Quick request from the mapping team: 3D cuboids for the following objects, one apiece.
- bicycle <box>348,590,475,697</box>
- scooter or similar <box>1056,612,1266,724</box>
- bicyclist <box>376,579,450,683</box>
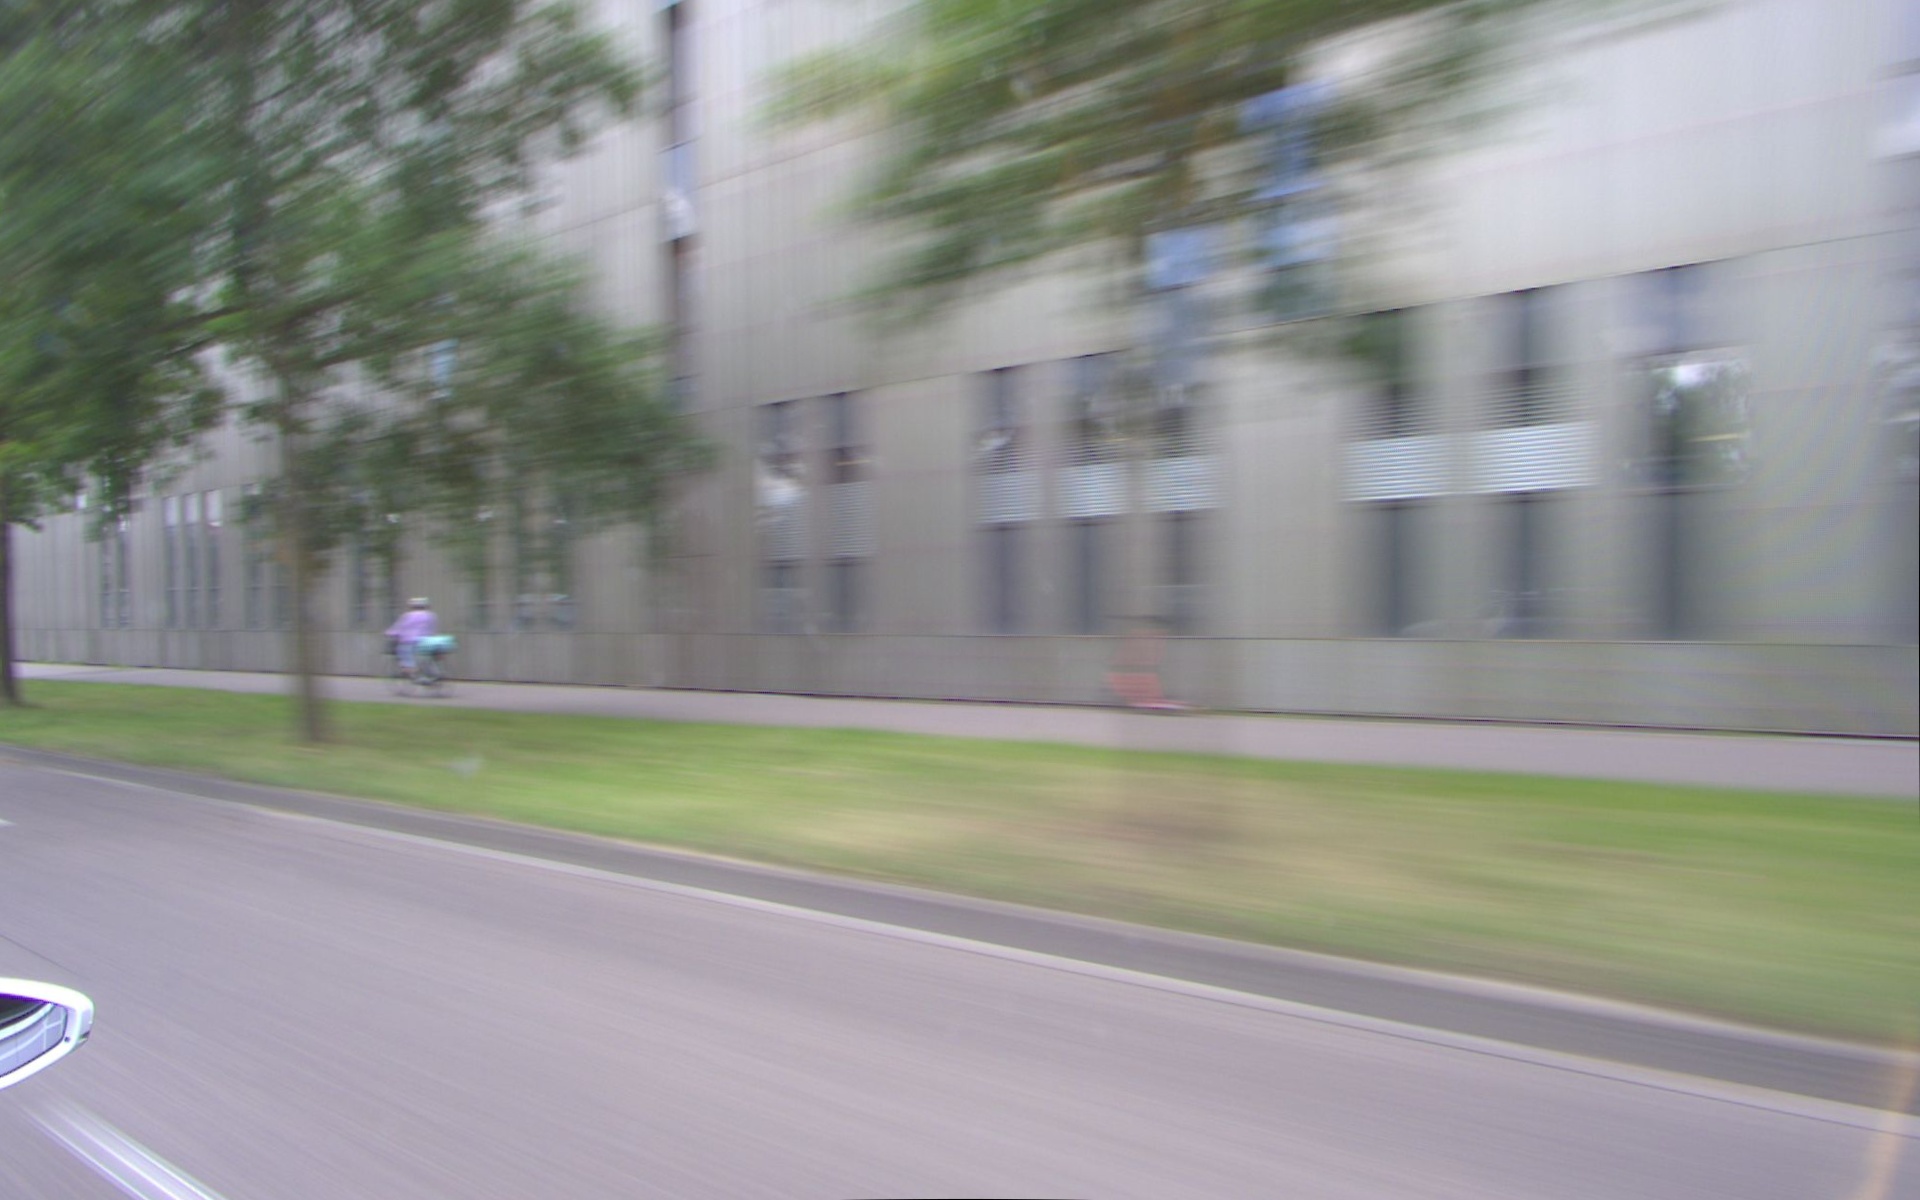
[{"bbox_3d":[-9.757,0.751,17.793,2.494,1.797,0.719,-1,1,28],"label":"bicycle"},{"bbox_3d":[2.448,0.794,12.354,2.444,1.263,0.703,-1,1,32],"label":"scooter or similar"},{"bbox_3d":[-9.705,0.537,17.759,0.973,1.792,0.714,0,1,28],"label":"bicyclist"}]
